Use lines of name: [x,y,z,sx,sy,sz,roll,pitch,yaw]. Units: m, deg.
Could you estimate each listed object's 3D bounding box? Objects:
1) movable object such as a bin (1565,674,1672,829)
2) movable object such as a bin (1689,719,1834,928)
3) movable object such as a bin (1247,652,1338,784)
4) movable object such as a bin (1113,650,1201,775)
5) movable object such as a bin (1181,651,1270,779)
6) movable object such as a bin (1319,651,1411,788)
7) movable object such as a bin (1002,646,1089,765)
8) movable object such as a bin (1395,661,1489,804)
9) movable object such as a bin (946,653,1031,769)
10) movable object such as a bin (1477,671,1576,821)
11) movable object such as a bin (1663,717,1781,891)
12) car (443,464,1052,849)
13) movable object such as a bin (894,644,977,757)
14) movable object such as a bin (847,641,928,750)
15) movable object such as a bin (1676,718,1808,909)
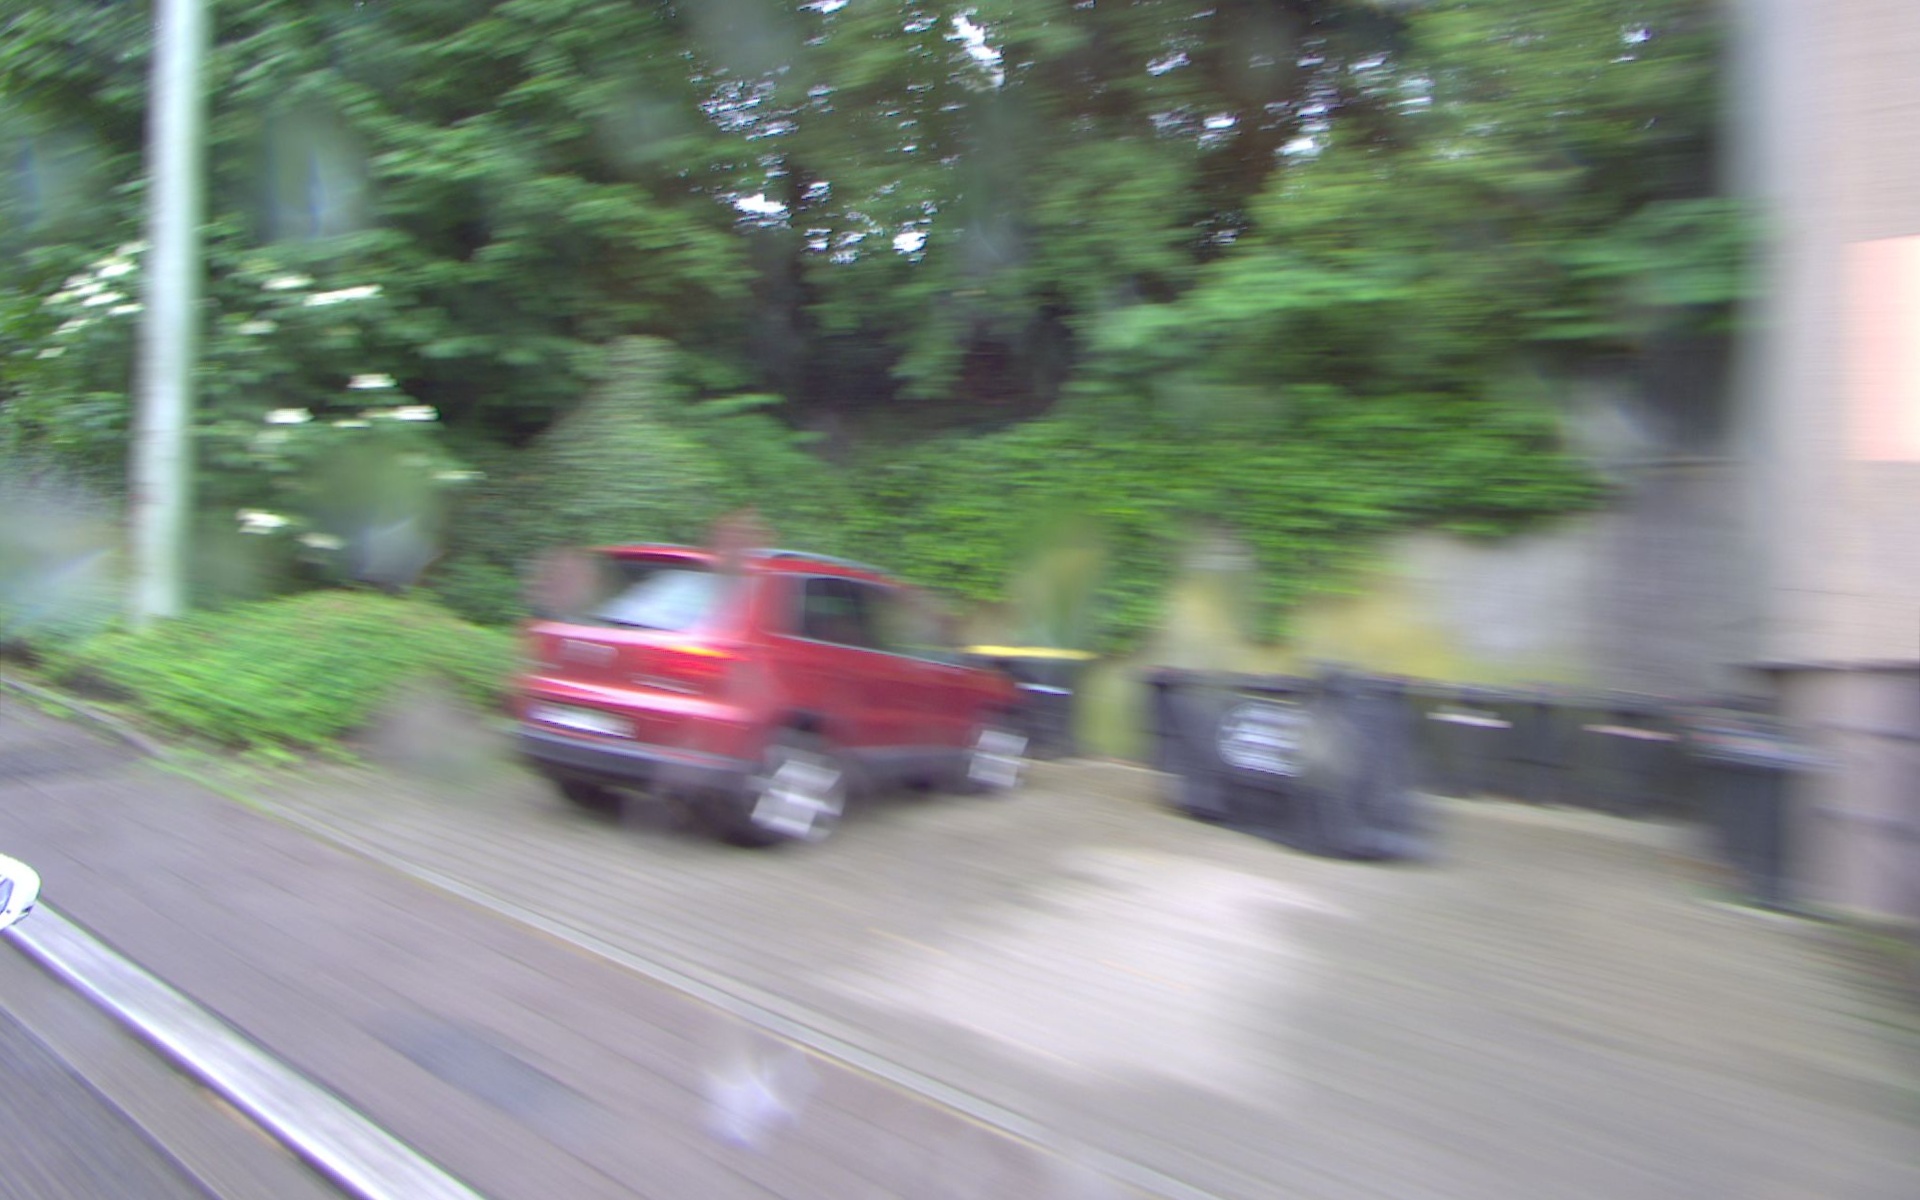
movable object such as a bin: [4.996,1.131,7.660,0.593,1.073,0.508,4,-2,31]
movable object such as a bin: [4.660,1.264,5.880,0.500,1.073,0.603,4,-2,28]
movable object such as a bin: [2.942,1.027,8.886,0.593,1.073,0.508,4,-2,31]
movable object such as a bin: [1.837,1.038,9.370,0.593,1.073,0.508,4,-2,31]
movable object such as a bin: [2.432,1.040,9.198,0.593,1.073,0.508,4,-2,31]
movable object such as a bin: [3.457,1.007,8.580,0.593,1.073,0.508,4,-2,31]
movable object such as a bin: [0.836,1.016,9.769,0.593,1.073,0.508,4,-2,31]
movable object such as a bin: [3.968,1.075,8.271,0.593,1.073,0.508,4,-2,31]
movable object such as a bin: [0.290,1.104,10.086,0.593,1.073,0.508,4,-2,31]
movable object such as a bin: [4.477,1.134,7.961,0.593,1.073,0.508,4,-2,31]
movable object such as a bin: [5.234,1.373,6.939,0.500,1.073,0.603,4,-2,28]
car: [-1.022,0.432,6.991,1.729,1.754,4.212,6,-3,27]
movable object such as a bin: [-0.251,1.026,10.346,0.593,1.073,0.508,4,-2,31]
movable object such as a bin: [-0.766,1.008,10.653,0.593,1.073,0.508,4,-2,31]
movable object such as a bin: [4.934,1.316,6.379,0.500,1.073,0.603,4,-2,28]
